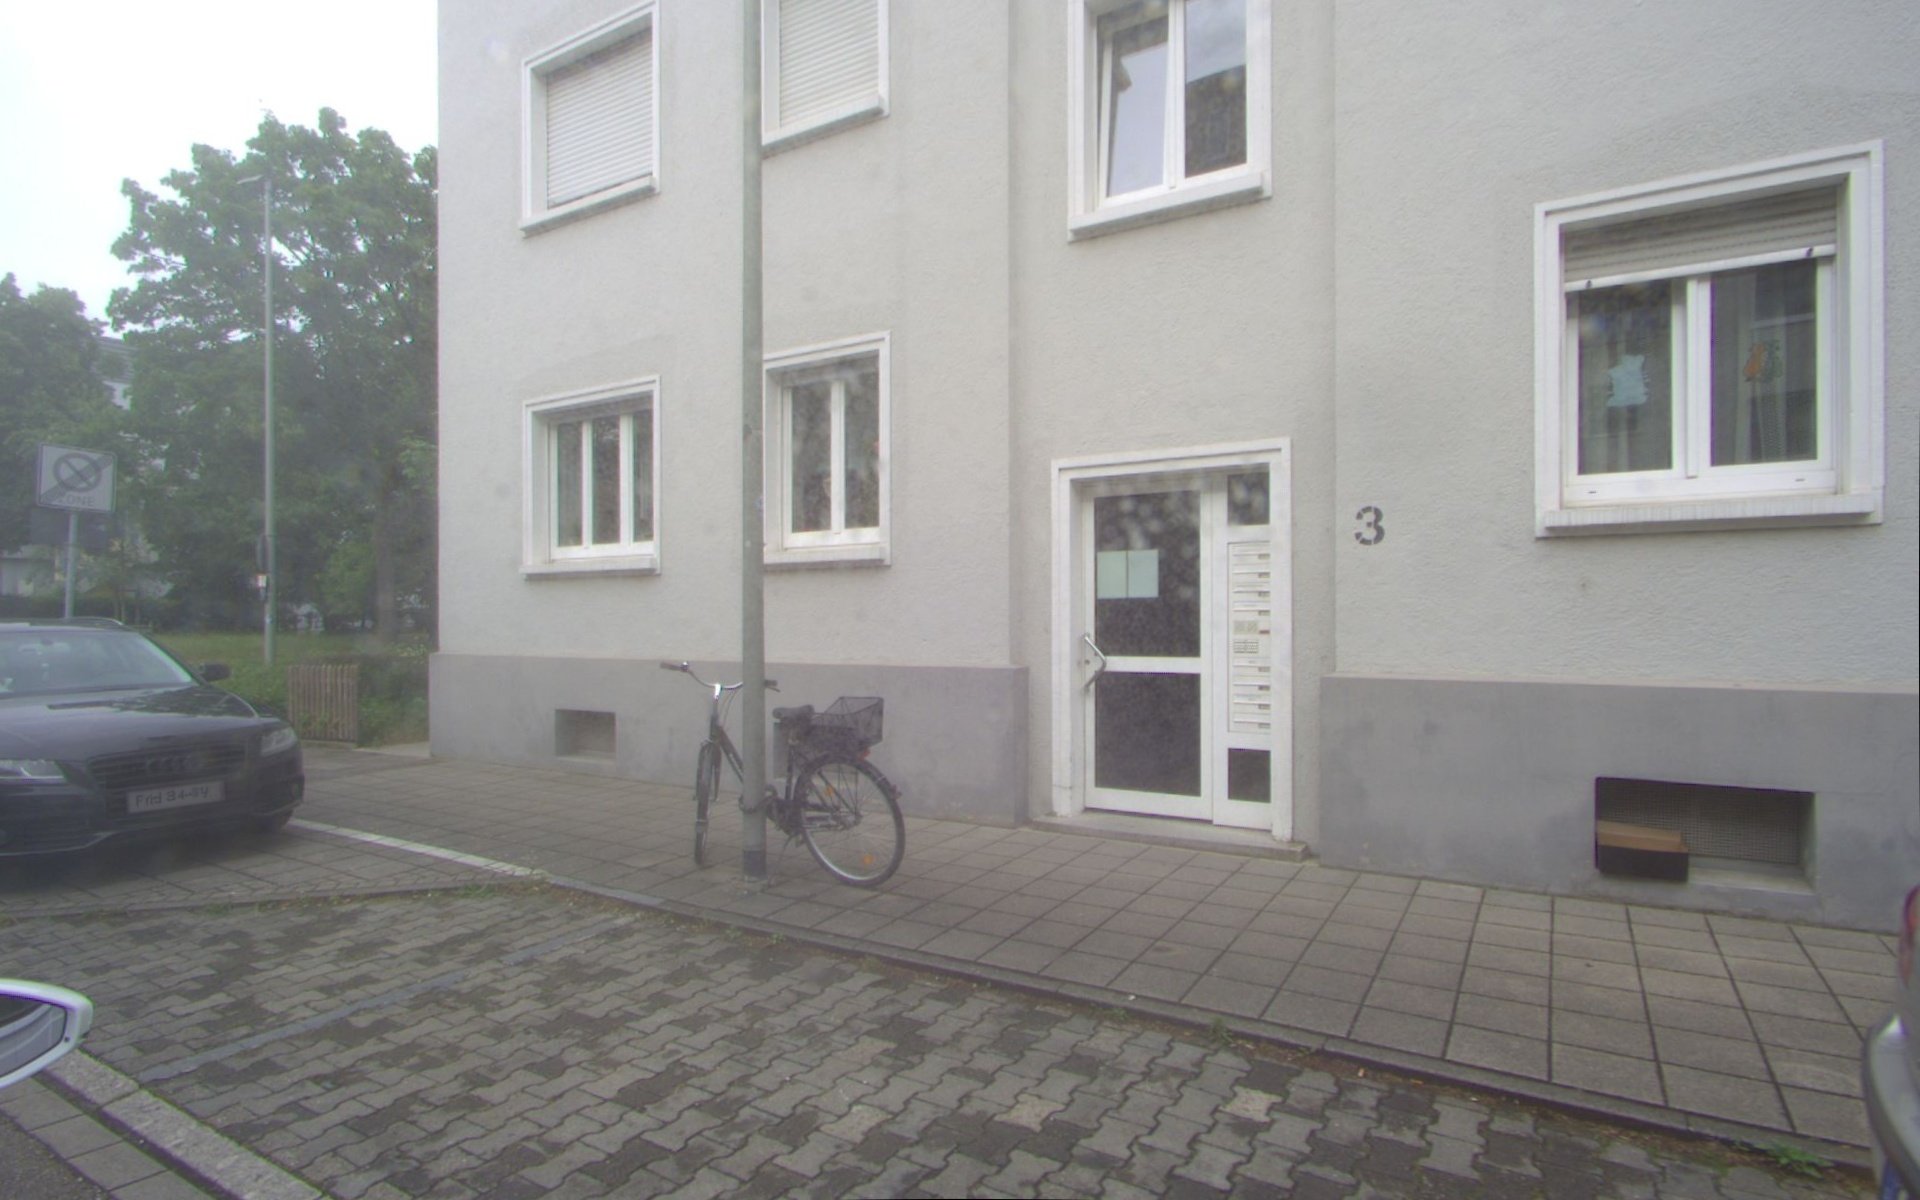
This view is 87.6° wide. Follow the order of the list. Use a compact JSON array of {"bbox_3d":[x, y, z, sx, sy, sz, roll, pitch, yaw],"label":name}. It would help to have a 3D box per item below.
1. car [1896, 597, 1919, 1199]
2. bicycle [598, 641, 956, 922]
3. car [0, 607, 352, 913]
[{"bbox_3d":[3.470,0.718,0.294,4.364,1.482,1.730,0,0,31],"label":"car"},{"bbox_3d":[-1.009,0.861,5.371,1.868,1.216,0.747,0,1,32],"label":"bicycle"},{"bbox_3d":[-6.304,0.800,6.699,4.655,1.482,1.857,0,0,31],"label":"car"}]
